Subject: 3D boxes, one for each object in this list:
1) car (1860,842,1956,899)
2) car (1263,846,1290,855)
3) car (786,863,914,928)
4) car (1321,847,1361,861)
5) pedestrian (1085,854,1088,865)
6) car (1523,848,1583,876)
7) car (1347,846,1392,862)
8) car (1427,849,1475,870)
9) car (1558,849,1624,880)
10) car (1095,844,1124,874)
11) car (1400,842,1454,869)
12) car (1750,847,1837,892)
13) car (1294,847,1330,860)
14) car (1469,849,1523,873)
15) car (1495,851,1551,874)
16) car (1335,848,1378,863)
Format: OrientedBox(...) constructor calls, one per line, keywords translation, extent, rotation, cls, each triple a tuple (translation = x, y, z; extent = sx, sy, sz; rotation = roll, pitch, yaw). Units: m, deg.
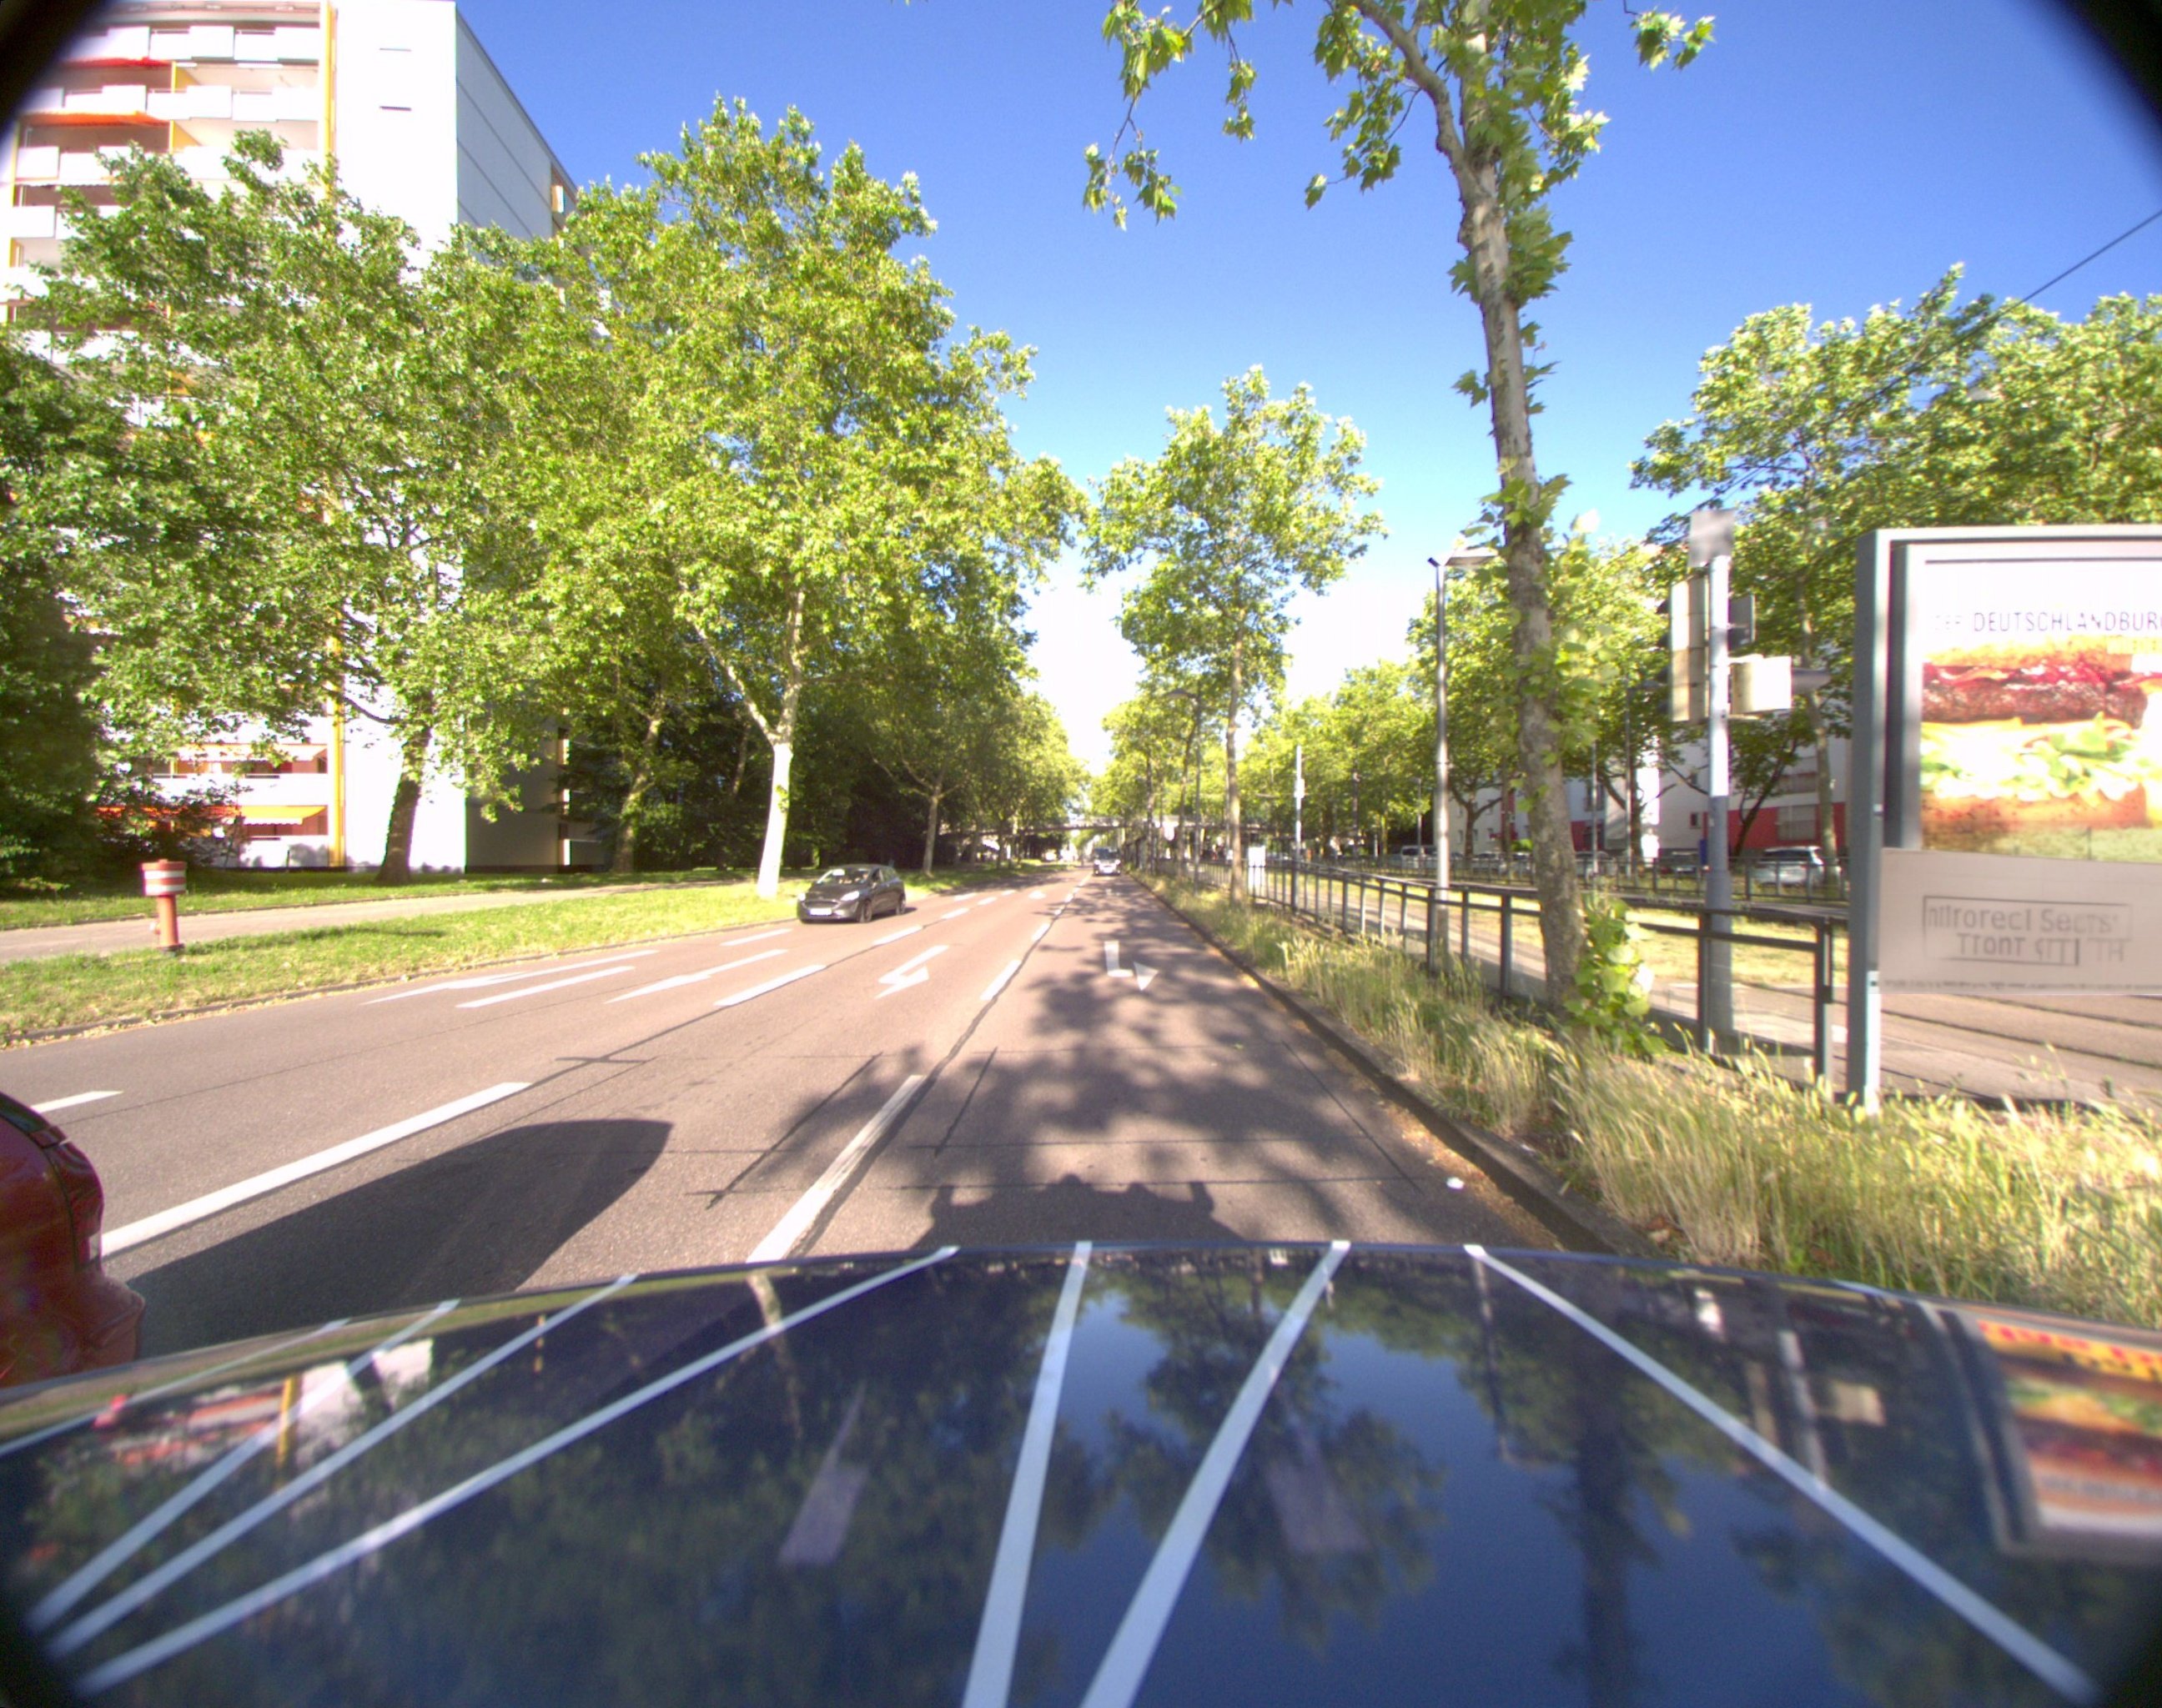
OrientedBox(translation=(25.013, 0.461, 22.948), extent=(3.689, 1.558, 1.683), rotation=(-1, 1, -38), cls="car")
OrientedBox(translation=(31.500, -0.565, 122.191), extent=(4.030, 1.335, 1.619), rotation=(-1, 1, -23), cls="car")
OrientedBox(translation=(-5.969, 1.028, 20.160), extent=(1.749, 1.460, 3.894), rotation=(-1, 0, 8), cls="car")
OrientedBox(translation=(27.237, 0.023, 79.563), extent=(4.376, 1.367, 1.919), rotation=(-1, 1, -39), cls="car")
OrientedBox(translation=(0.744, 0.715, 102.878), extent=(0.398, 1.454, 0.417), rotation=(-1, 1, -3), cls="pedestrian")
OrientedBox(translation=(25.806, 0.429, 41.506), extent=(3.689, 1.440, 1.645), rotation=(-1, 1, -39), cls="car")
OrientedBox(translation=(26.660, 0.007, 70.221), extent=(4.376, 1.367, 1.919), rotation=(-1, 1, -39), cls="car")
OrientedBox(translation=(26.240, 0.347, 53.887), extent=(3.689, 1.388, 1.645), rotation=(-1, 1, -39), cls="car")
OrientedBox(translation=(25.325, 0.500, 37.678), extent=(3.689, 1.384, 1.645), rotation=(-1, 1, -38), cls="car")
OrientedBox(translation=(2.078, 0.362, 56.607), extent=(2.040, 2.102, 5.113), rotation=(-2, 0, 1), cls="car")
OrientedBox(translation=(25.955, 0.084, 56.980), extent=(4.376, 1.873, 1.919), rotation=(-1, 1, -39), cls="car")
OrientedBox(translation=(25.051, 0.494, 26.674), extent=(3.689, 1.425, 1.683), rotation=(-1, 1, -38), cls="car")
OrientedBox(translation=(27.195, -0.060, 89.417), extent=(4.376, 1.367, 1.919), rotation=(-1, 1, -39), cls="car")
OrientedBox(translation=(25.952, 0.414, 47.483), extent=(3.689, 1.440, 1.645), rotation=(-1, 1, -39), cls="car")
OrientedBox(translation=(26.195, 0.481, 44.948), extent=(3.689, 1.234, 1.645), rotation=(-1, 1, -39), cls="car")
OrientedBox(translation=(26.582, 0.098, 73.266), extent=(4.376, 1.367, 1.919), rotation=(-1, 1, -39), cls="car")
